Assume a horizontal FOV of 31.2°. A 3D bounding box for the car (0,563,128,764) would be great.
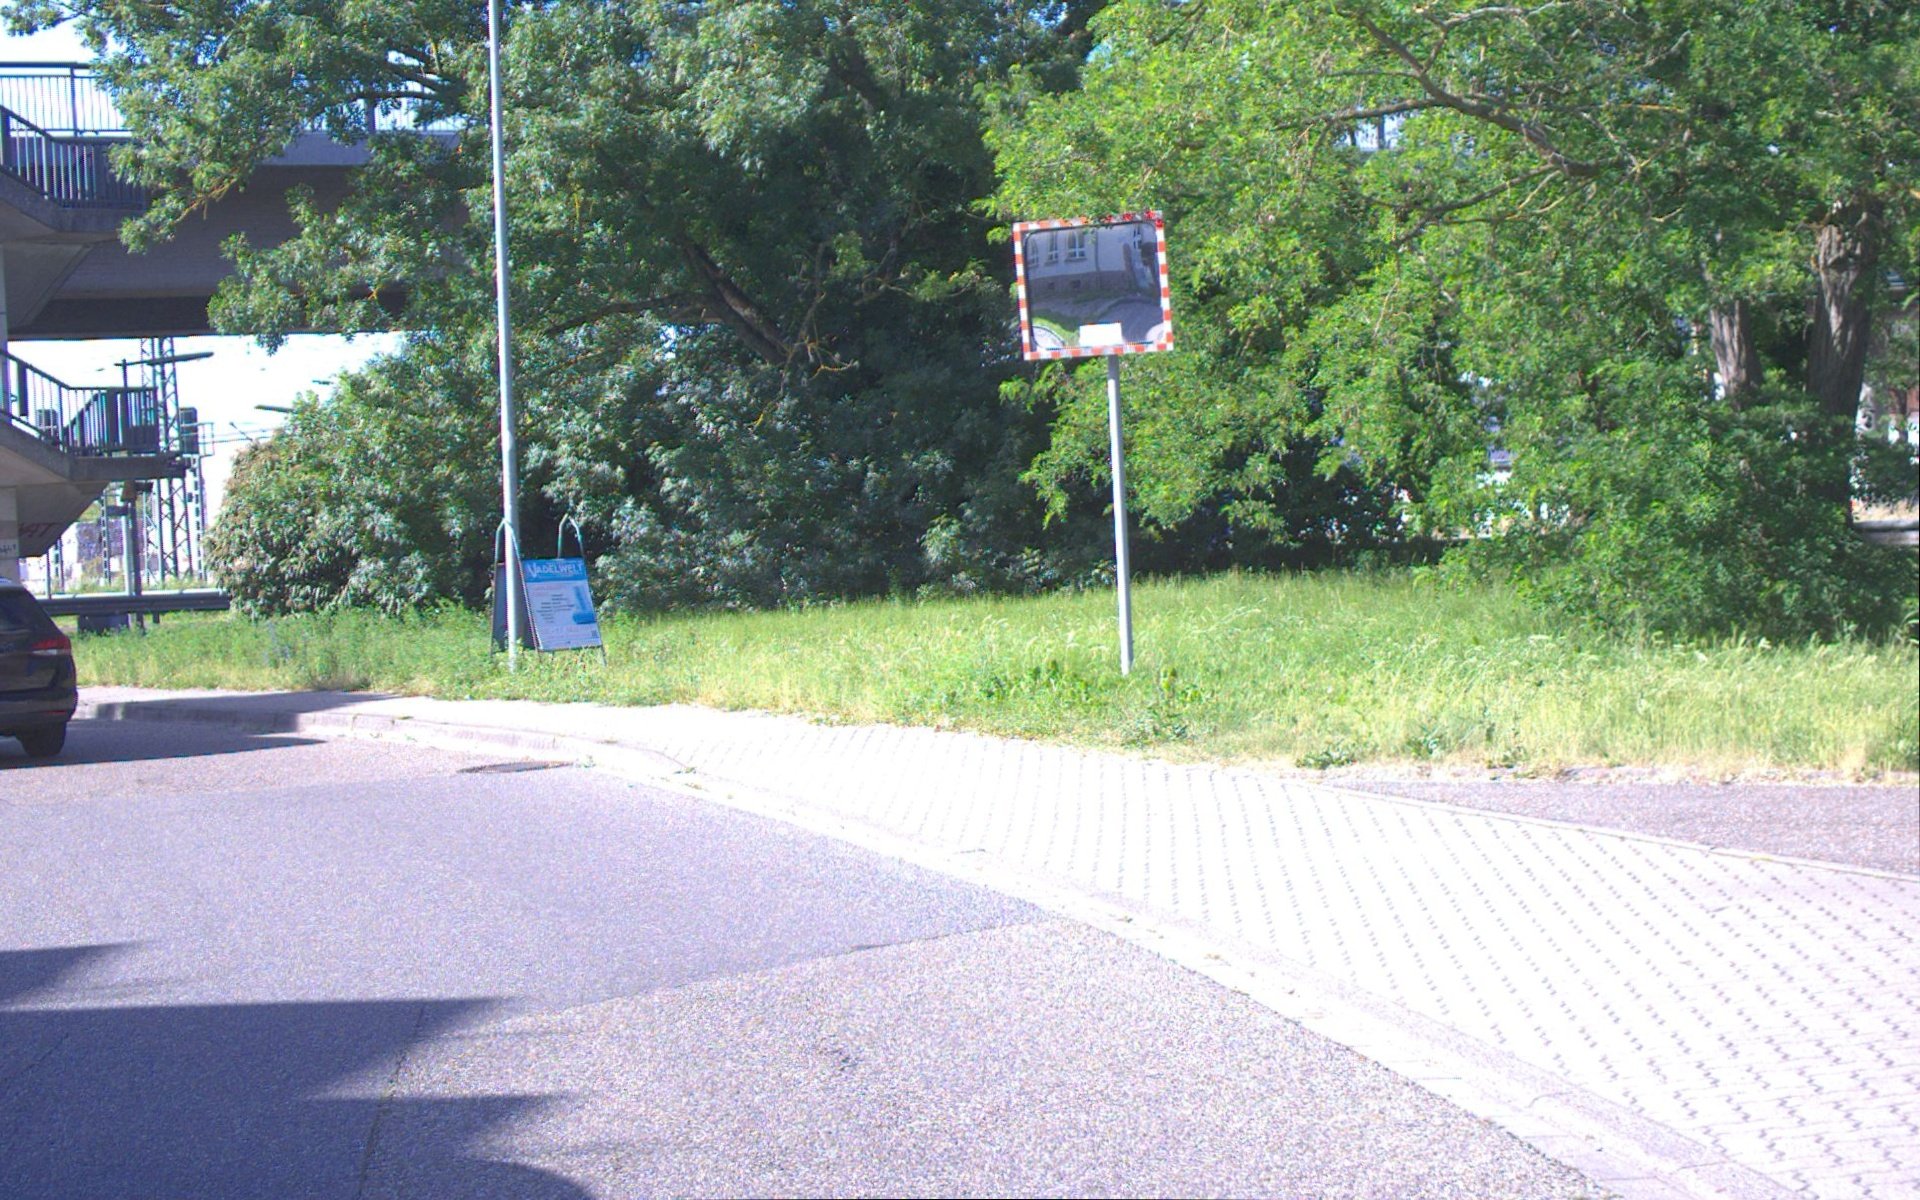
[{"bbox_3d":[-8.704,0.539,28.154,1.943,1.483,4.564,-4,2,-37],"label":"car"}]
